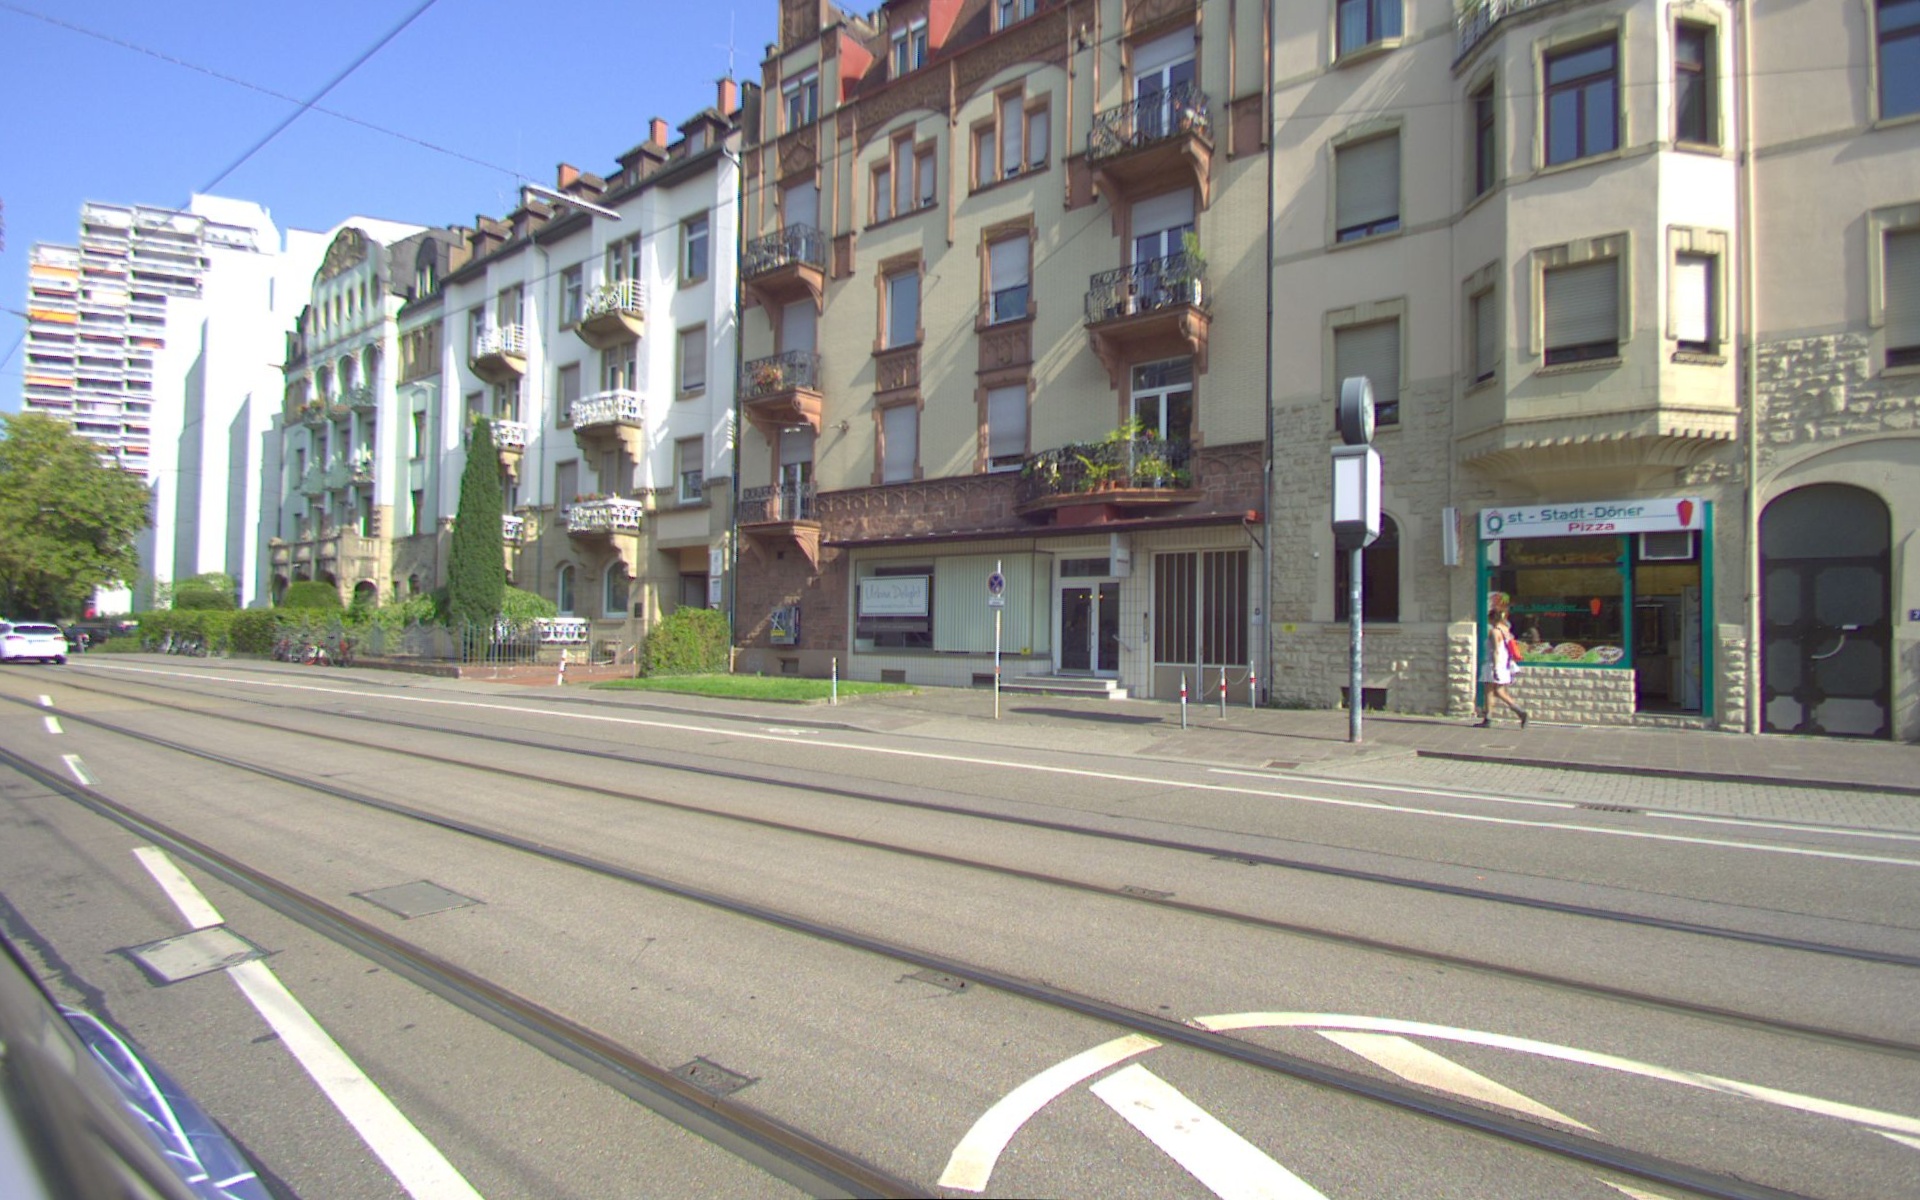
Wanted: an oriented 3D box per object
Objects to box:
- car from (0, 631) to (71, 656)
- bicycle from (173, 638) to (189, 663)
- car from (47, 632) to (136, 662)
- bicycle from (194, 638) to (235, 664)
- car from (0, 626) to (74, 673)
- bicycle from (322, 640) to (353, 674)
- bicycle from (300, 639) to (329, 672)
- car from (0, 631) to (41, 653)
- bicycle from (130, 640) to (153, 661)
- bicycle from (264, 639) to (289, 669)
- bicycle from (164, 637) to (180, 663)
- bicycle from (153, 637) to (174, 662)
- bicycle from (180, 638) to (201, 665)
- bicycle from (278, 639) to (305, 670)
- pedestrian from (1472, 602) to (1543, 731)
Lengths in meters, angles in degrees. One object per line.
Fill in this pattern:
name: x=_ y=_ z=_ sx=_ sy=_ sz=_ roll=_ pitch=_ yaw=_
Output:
car: x=-59.197 y=2.763 z=64.628 sx=1.744 sy=1.539 sz=4.008 roll=1 pitch=-3 yaw=-10
bicycle: x=-34.382 y=2.221 z=44.671 sx=0.419 sy=1.096 sz=1.678 roll=3 pitch=-4 yaw=-41
car: x=-46.139 y=2.485 z=53.848 sx=1.744 sy=1.539 sz=4.008 roll=1 pitch=-3 yaw=-10
bicycle: x=-31.704 y=2.161 z=43.055 sx=0.423 sy=1.096 sz=1.386 roll=-1 pitch=-3 yaw=21
car: x=-32.668 y=1.714 z=35.121 sx=4.536 sy=1.466 sz=1.855 roll=-1 pitch=-6 yaw=36
bicycle: x=-20.243 y=1.838 z=32.904 sx=1.486 sy=1.096 sz=0.366 roll=-2 pitch=-3 yaw=39
bicycle: x=-21.663 y=1.863 z=33.968 sx=1.353 sy=1.096 sz=0.366 roll=-2 pitch=-3 yaw=39
car: x=-66.156 y=2.895 z=70.083 sx=1.744 sy=1.539 sz=4.008 roll=1 pitch=-3 yaw=-10
bicycle: x=-39.209 y=2.417 z=48.474 sx=1.768 sy=0.985 sz=0.420 roll=-1 pitch=-3 yaw=38
bicycle: x=-25.011 y=1.965 z=37.022 sx=1.353 sy=1.096 sz=0.366 roll=-2 pitch=-3 yaw=39
bicycle: x=-35.099 y=2.220 z=45.071 sx=0.419 sy=1.096 sz=1.678 roll=3 pitch=-4 yaw=-41
bicycle: x=-36.570 y=2.261 z=46.446 sx=1.676 sy=1.096 sz=0.420 roll=-2 pitch=-4 yaw=42
bicycle: x=-32.863 y=2.189 z=43.219 sx=1.677 sy=1.096 sz=0.420 roll=-2 pitch=-4 yaw=44
bicycle: x=-23.680 y=1.919 z=35.855 sx=1.353 sy=1.096 sz=0.366 roll=-2 pitch=-3 yaw=39
pedestrian: x=8.308 y=0.990 z=15.357 sx=0.829 sy=1.874 sz=0.766 roll=-1 pitch=-3 yaw=37
